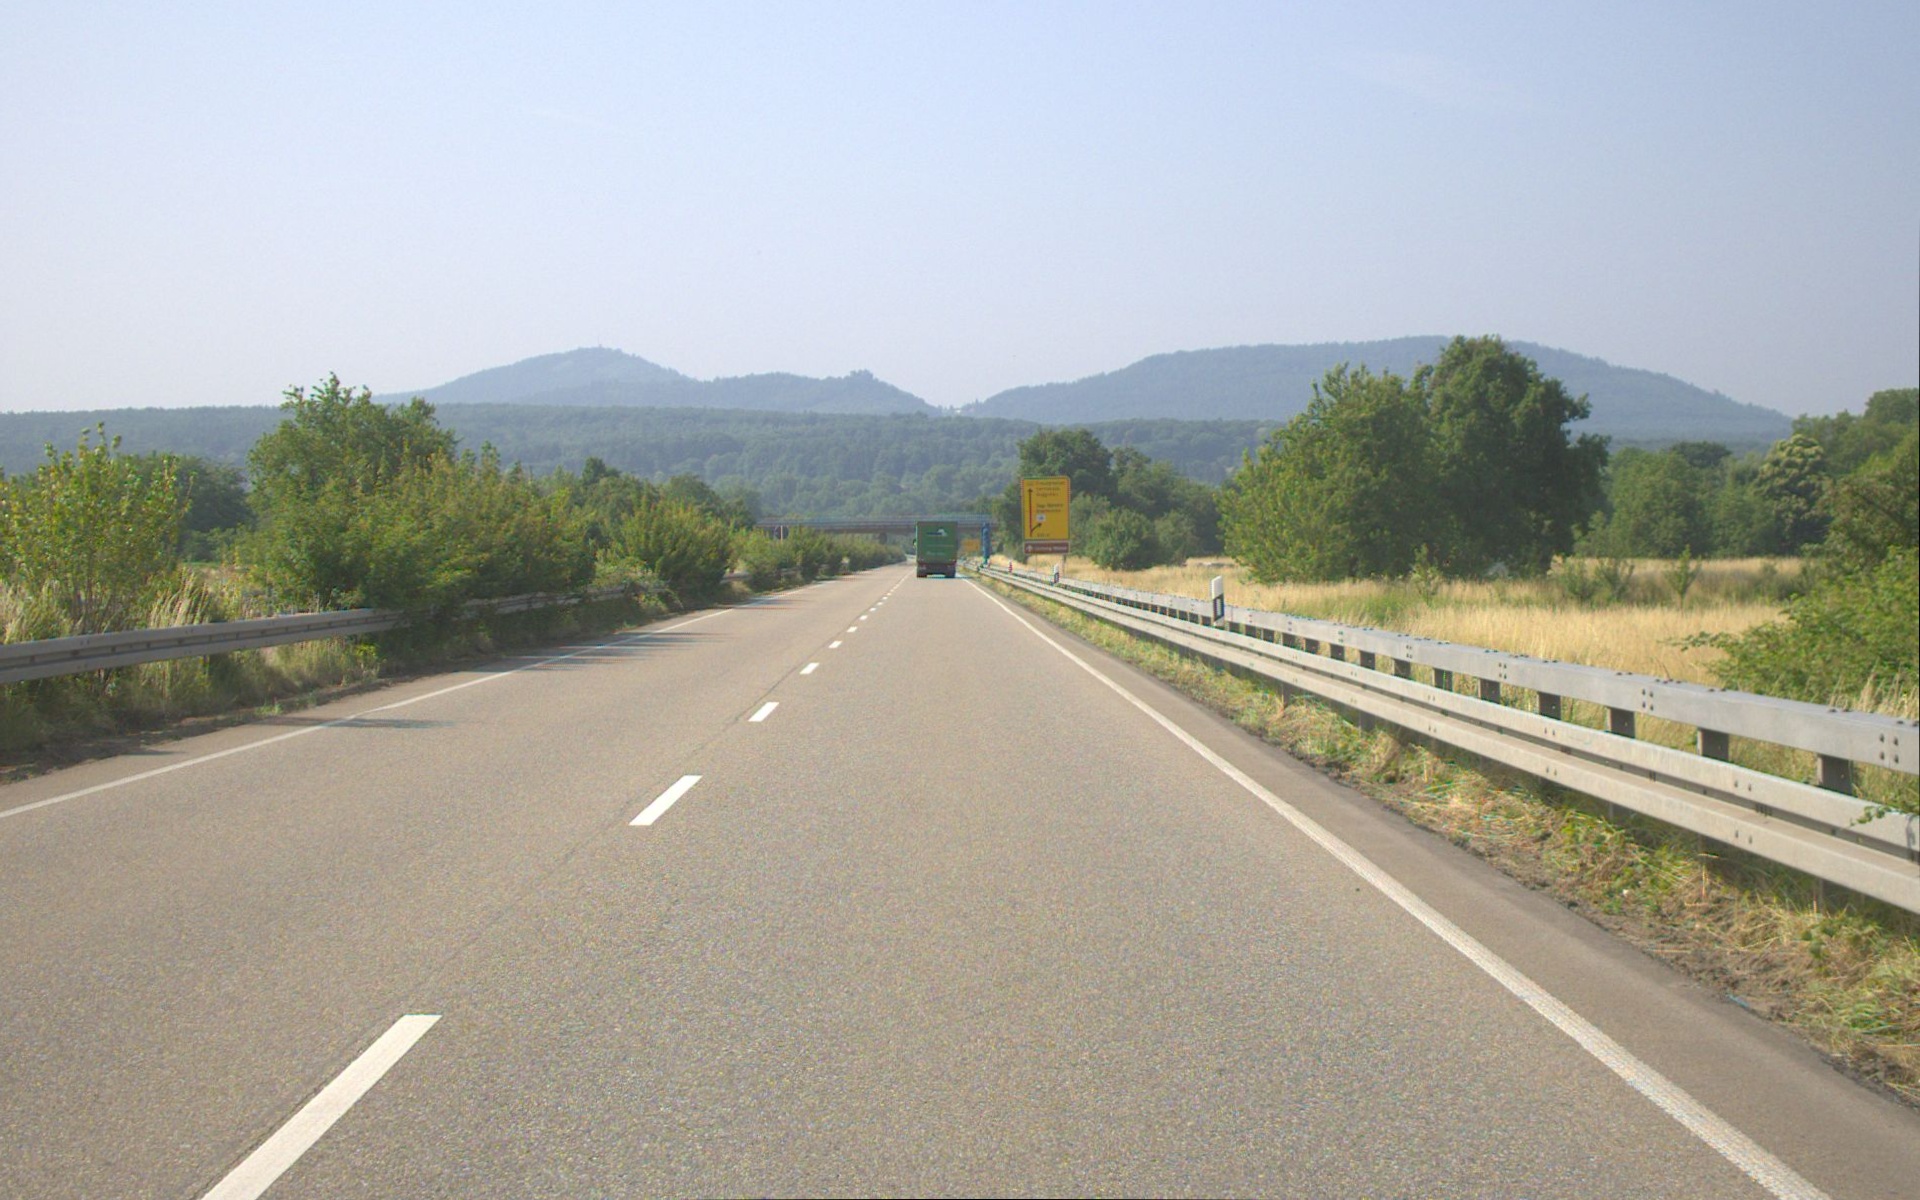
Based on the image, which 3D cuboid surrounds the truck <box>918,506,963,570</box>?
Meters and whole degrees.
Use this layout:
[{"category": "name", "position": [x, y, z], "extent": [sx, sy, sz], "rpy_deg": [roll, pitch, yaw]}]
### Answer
[{"category": "truck", "position": [-1.228, -4.086, 222.854], "extent": [2.722, 3.952, 10.416], "rpy_deg": [2, 2, 0]}]
